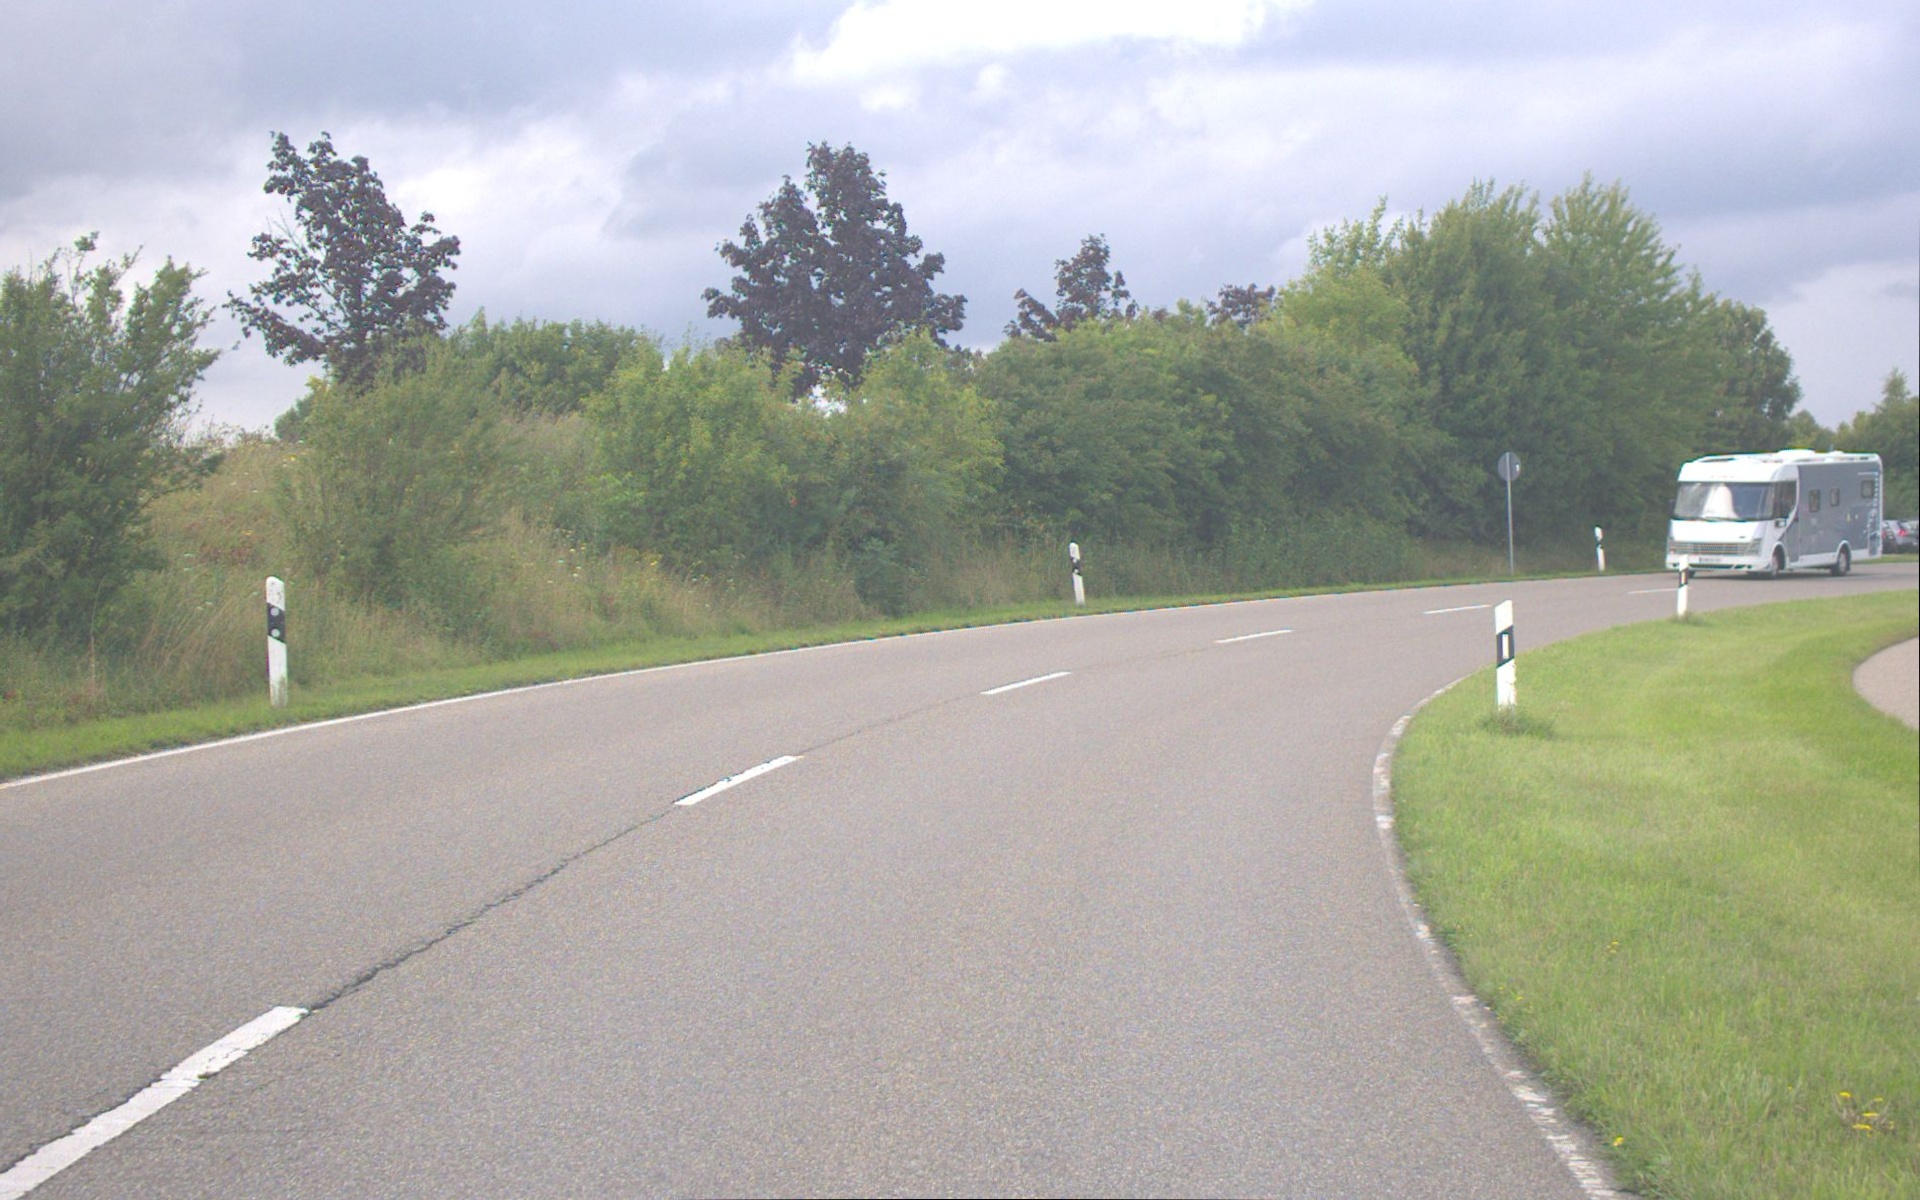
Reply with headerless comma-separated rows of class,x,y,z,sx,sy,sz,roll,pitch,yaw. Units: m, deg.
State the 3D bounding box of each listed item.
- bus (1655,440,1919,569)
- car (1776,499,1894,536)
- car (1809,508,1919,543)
bus,18.385,-2.093,75.967,2.480,2.702,8.412,1,2,38
car,33.378,-3.147,131.135,3.995,1.375,1.820,1,2,35
car,35.522,-2.929,135.085,3.991,1.375,1.474,0,1,23
